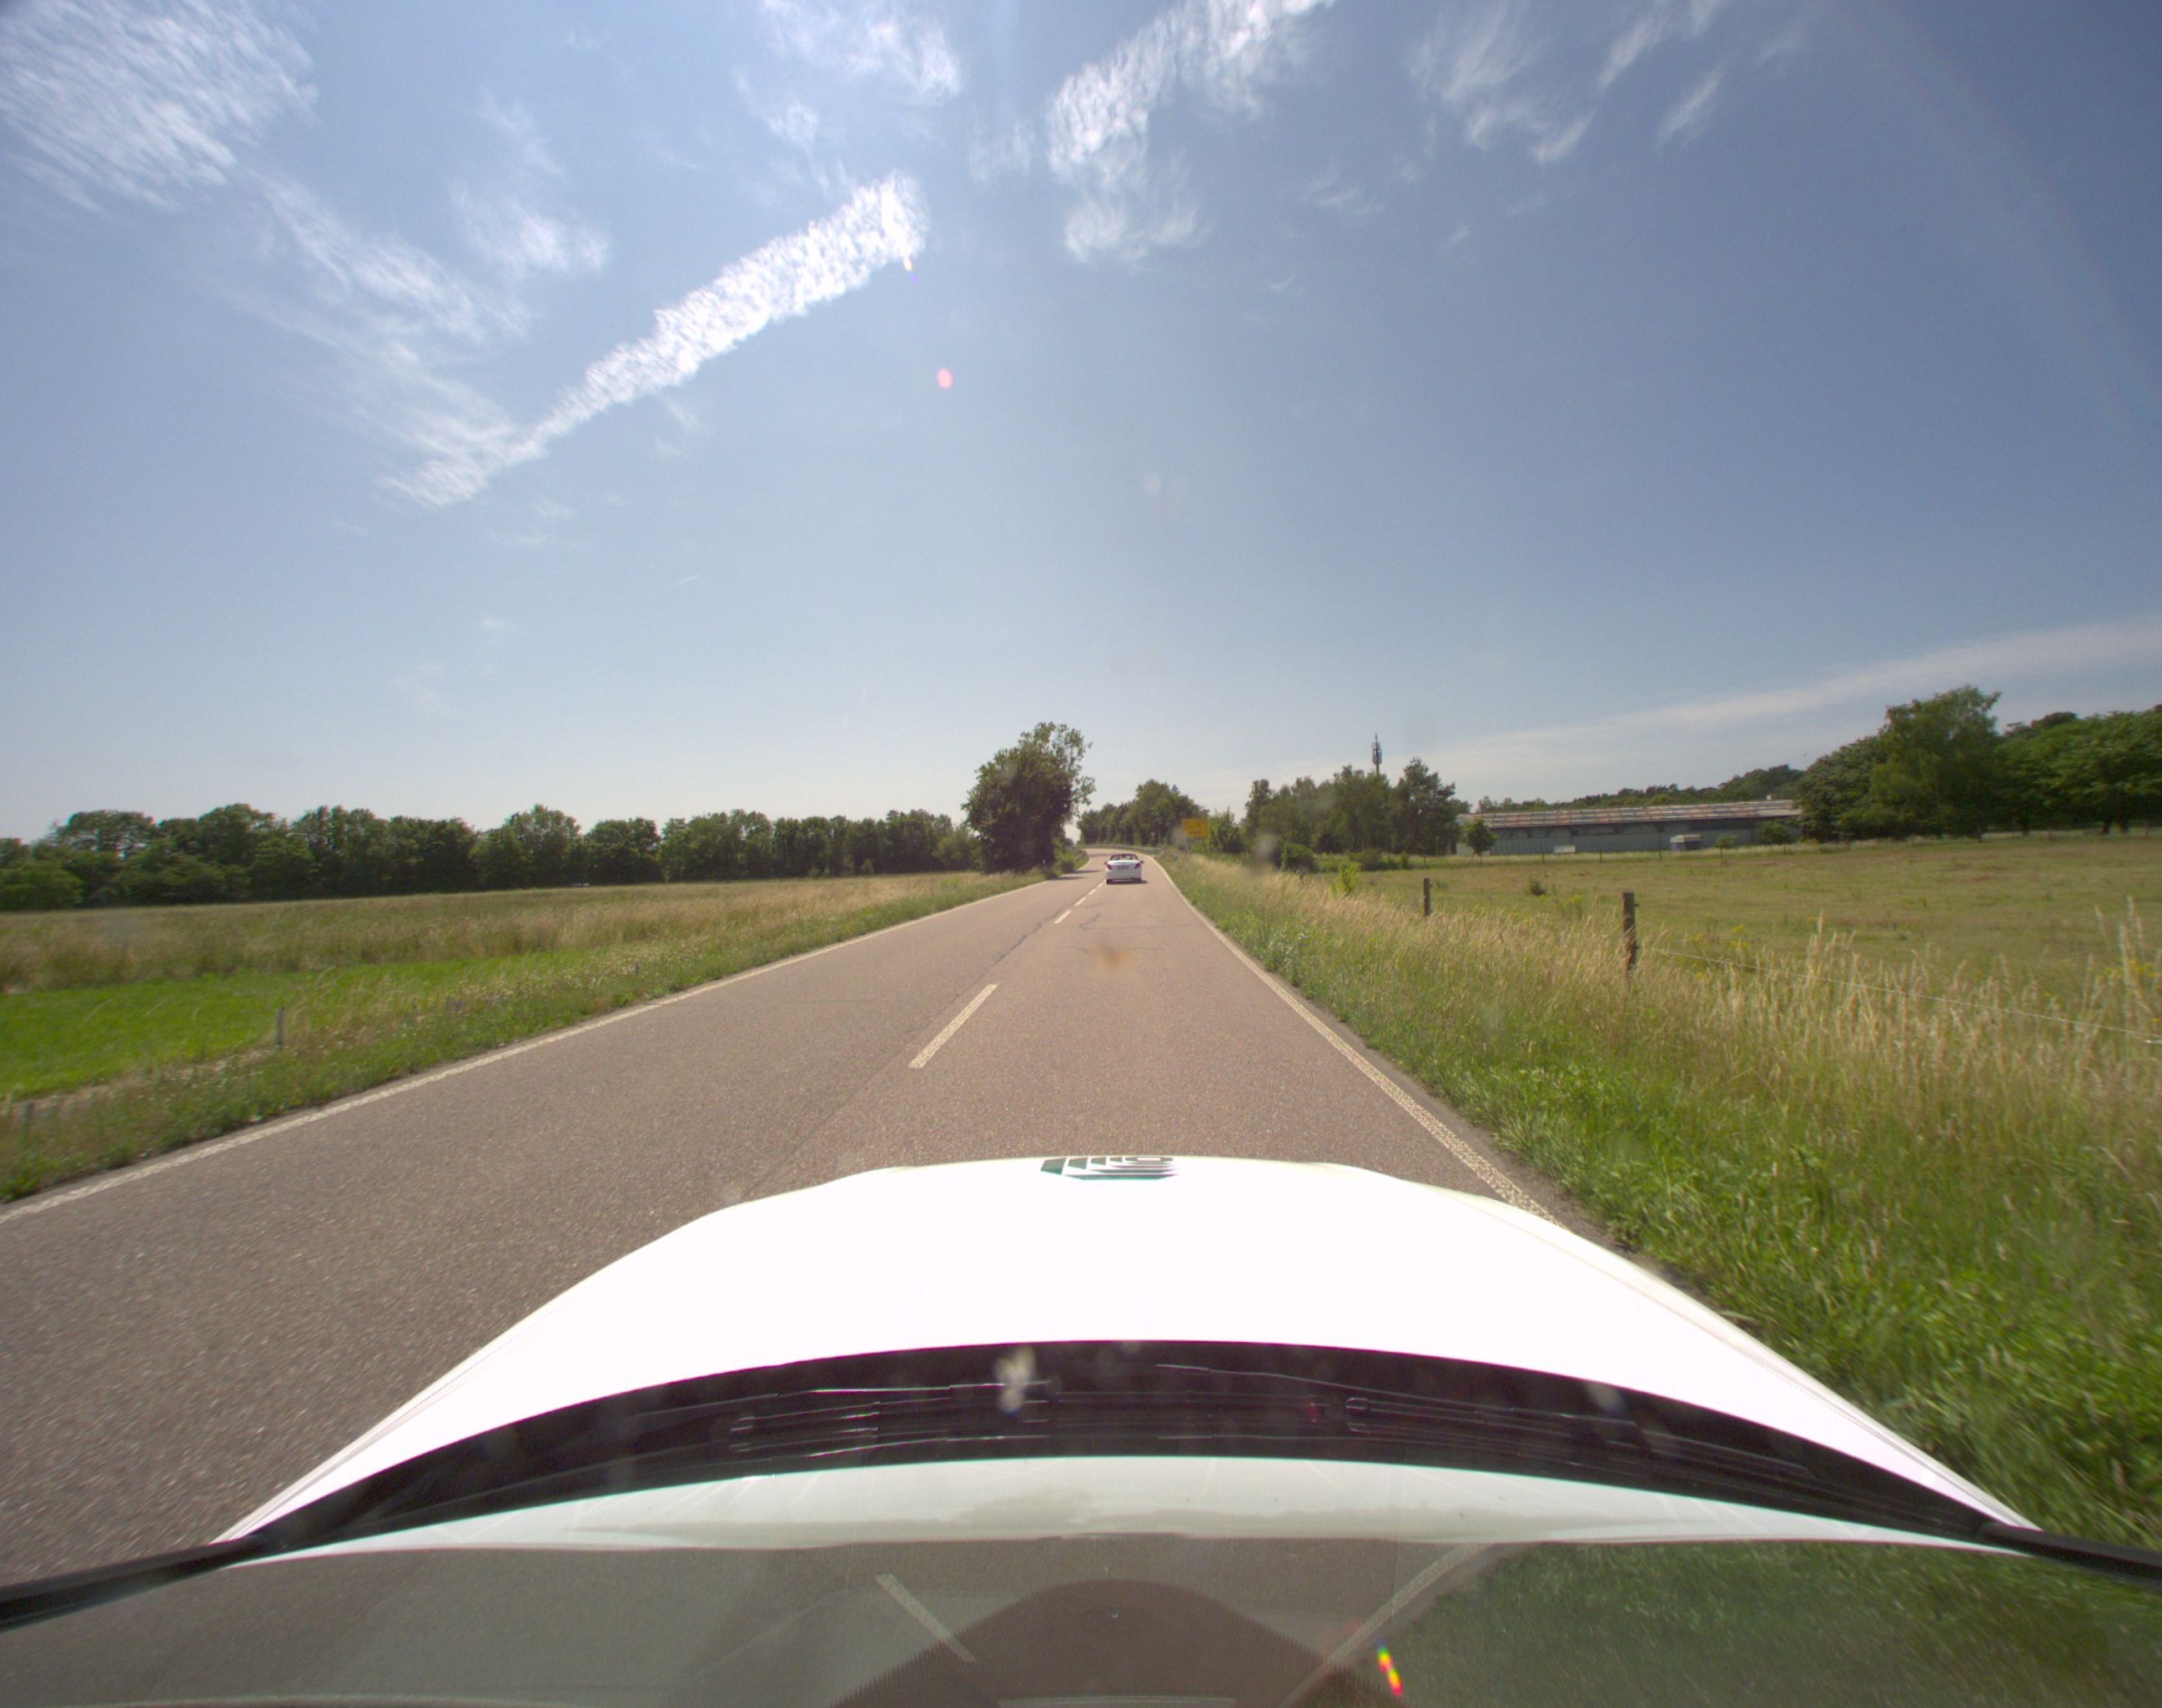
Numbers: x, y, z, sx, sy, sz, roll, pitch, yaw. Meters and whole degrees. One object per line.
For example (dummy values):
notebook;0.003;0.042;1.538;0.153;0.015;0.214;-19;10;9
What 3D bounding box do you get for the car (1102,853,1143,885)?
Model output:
car;2.019;0.690;39.679;1.843;1.379;4.003;-2;0;2
